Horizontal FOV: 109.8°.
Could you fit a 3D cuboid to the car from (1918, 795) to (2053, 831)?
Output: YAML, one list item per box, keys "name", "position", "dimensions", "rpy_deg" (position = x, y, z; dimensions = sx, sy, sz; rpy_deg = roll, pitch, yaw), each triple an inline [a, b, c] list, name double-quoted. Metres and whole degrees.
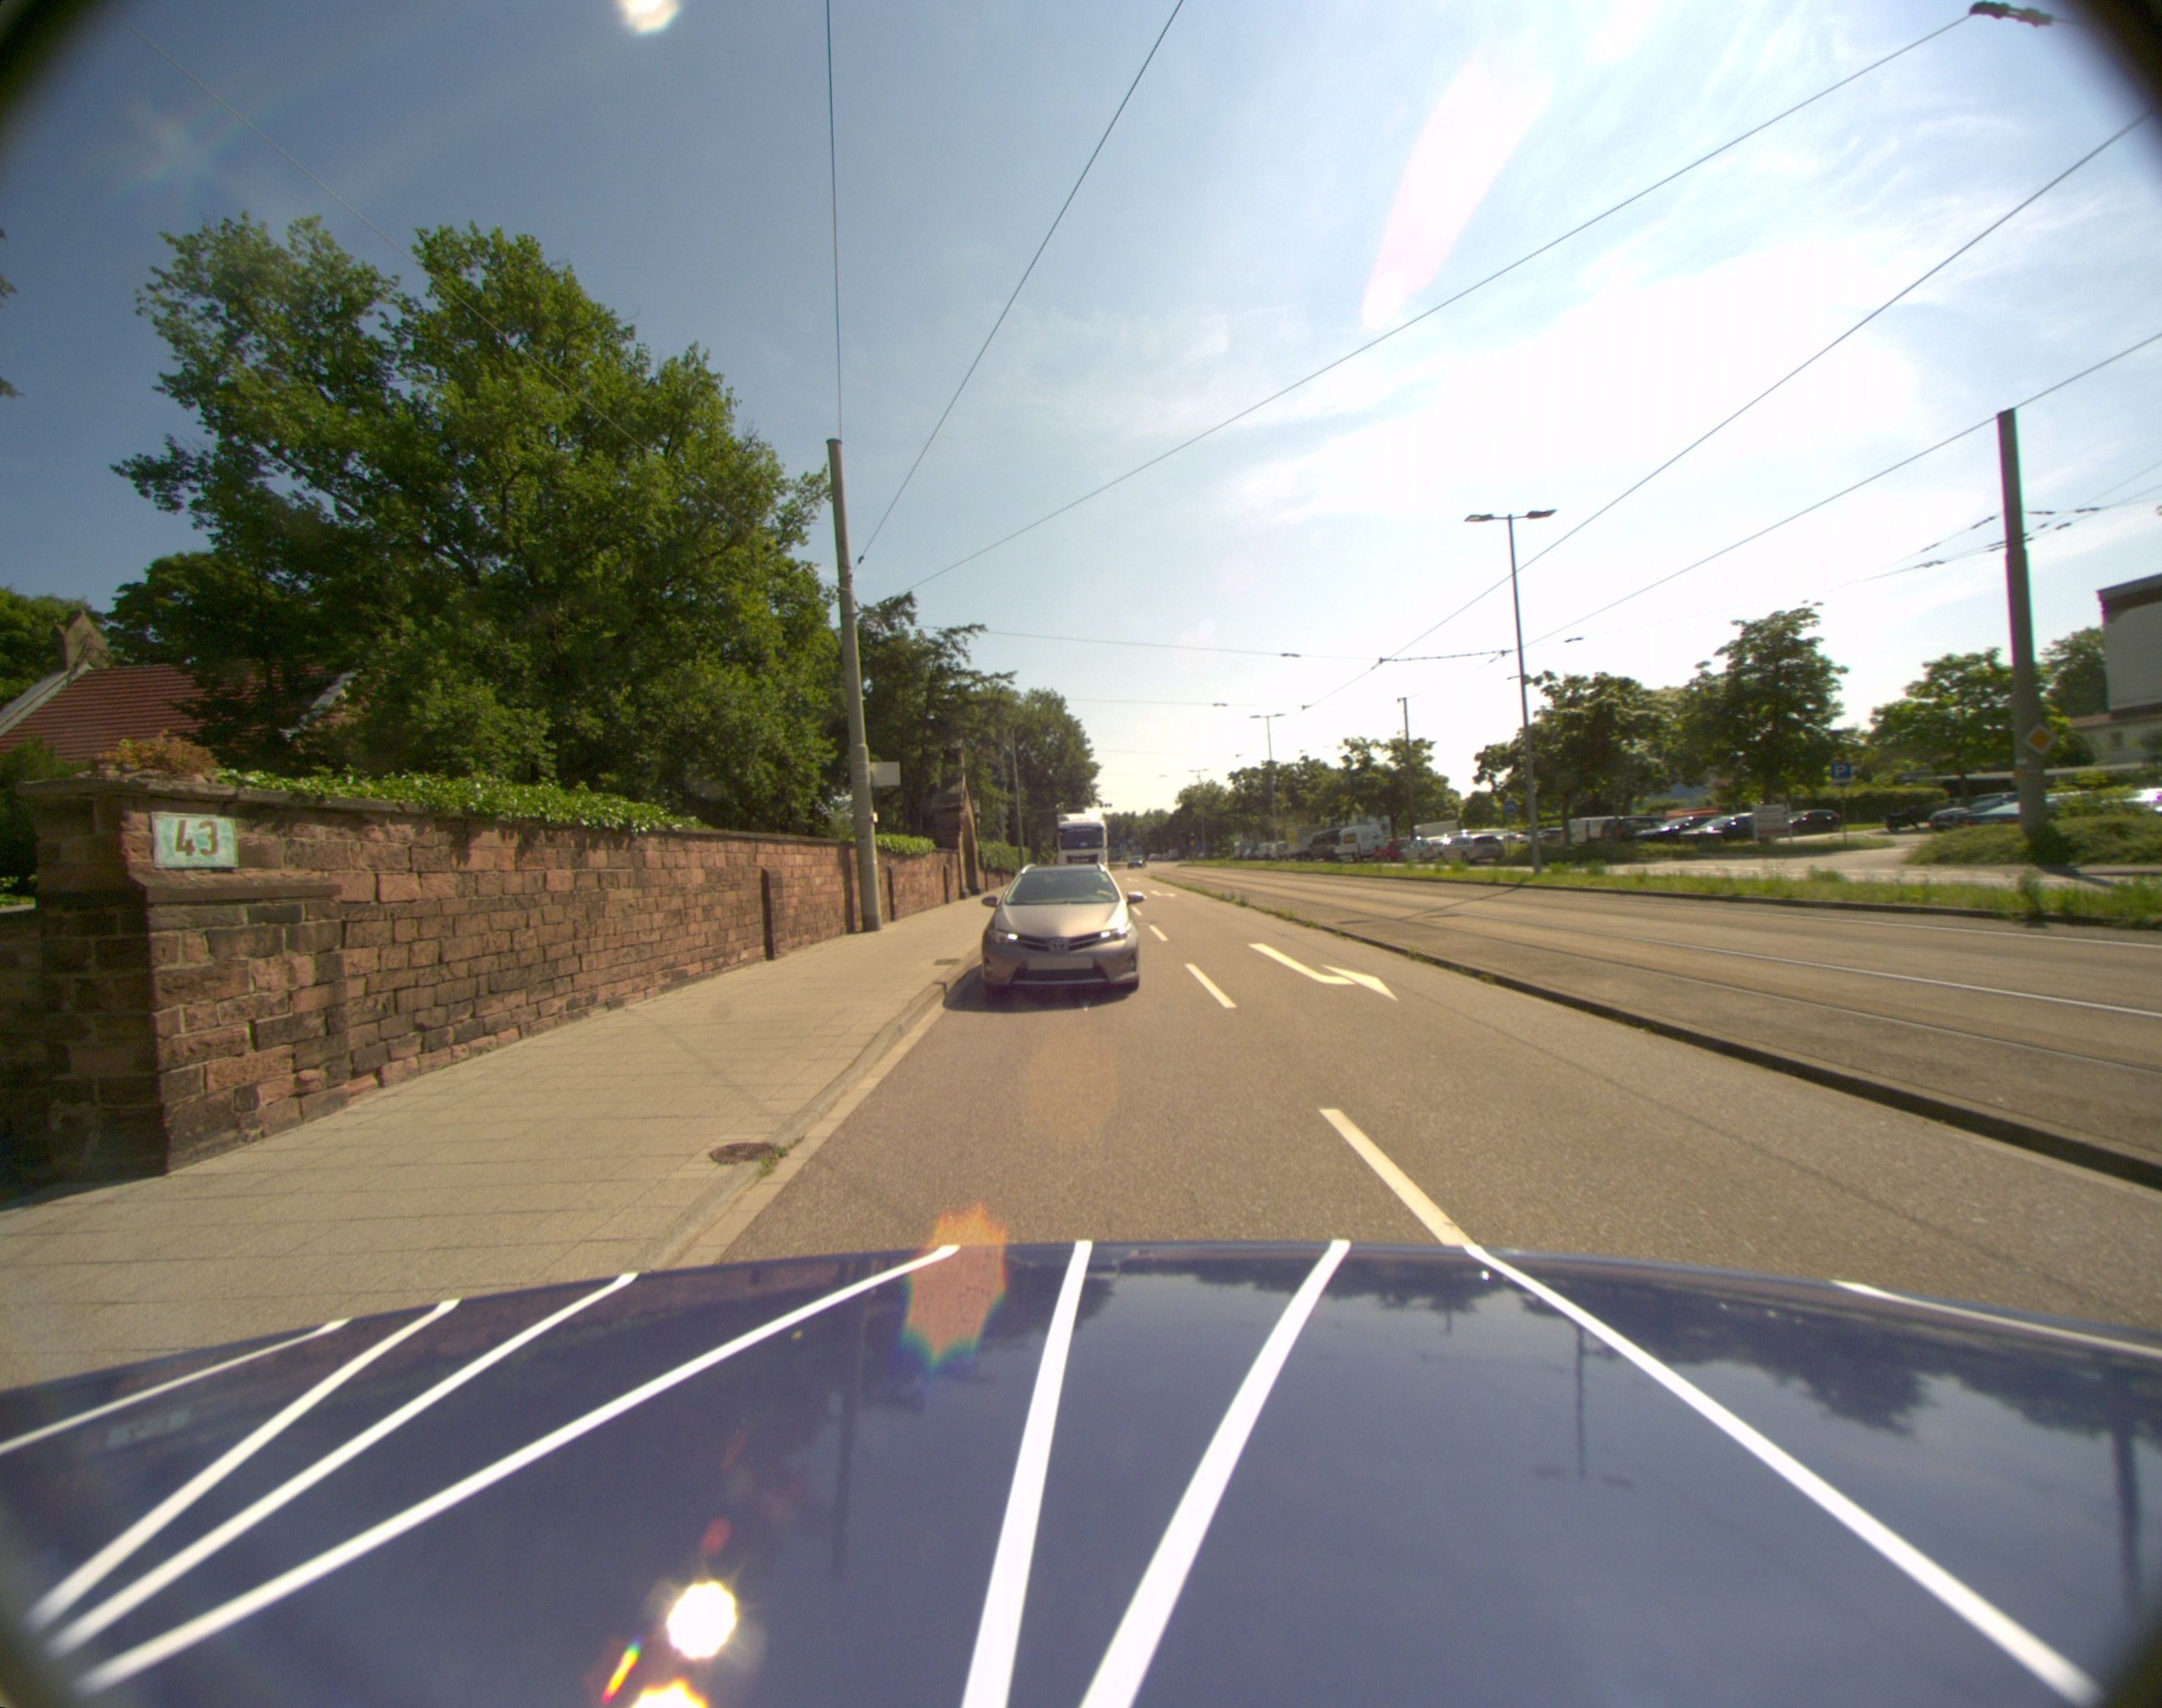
- name: "car"
  position: [43.278, -1.939, 36.410]
  dimensions: [4.252, 1.327, 1.676]
  rpy_deg: [-4, 0, 3]

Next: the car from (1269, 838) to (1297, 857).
- name: "car"
  position: [20.845, -0.667, 78.593]
  dimensions: [1.502, 1.793, 4.633]
  rpy_deg: [-7, 0, 1]

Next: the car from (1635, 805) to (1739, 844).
- name: "car"
  position: [30.550, -1.476, 38.373]
  dimensions: [3.810, 1.625, 1.676]
  rpy_deg: [-4, 0, 3]

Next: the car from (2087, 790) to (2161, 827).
- name: "car"
  position: [43.799, -1.940, 30.553]
  dimensions: [4.252, 1.327, 1.676]
  rpy_deg: [-4, 0, 3]

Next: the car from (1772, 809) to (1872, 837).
- name: "car"
  position: [44.627, -1.878, 45.834]
  dimensions: [4.252, 1.327, 1.676]
  rpy_deg: [-4, 0, 3]

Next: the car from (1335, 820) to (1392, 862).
- name: "car"
  position: [20.373, -0.908, 55.068]
  dimensions: [2.062, 2.638, 5.203]
  rpy_deg: [-7, 0, 1]

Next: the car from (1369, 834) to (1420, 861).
- name: "car"
  position: [20.495, -0.397, 49.801]
  dimensions: [1.675, 1.524, 3.793]
  rpy_deg: [-7, 0, 1]

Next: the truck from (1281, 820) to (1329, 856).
- name: "truck"
  position: [20.580, -1.399, 70.122]
  dimensions: [2.508, 2.917, 5.903]
  rpy_deg: [-7, 0, 2]

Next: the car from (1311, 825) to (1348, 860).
- name: "car"
  position: [20.029, -0.918, 61.398]
  dimensions: [1.502, 2.609, 4.007]
  rpy_deg: [-7, 0, 1]

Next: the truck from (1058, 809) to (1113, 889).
- name: "truck"
  position: [0.351, -0.283, 42.722]
  dimensions: [2.628, 3.905, 9.286]
  rpy_deg: [-2, 0, 1]

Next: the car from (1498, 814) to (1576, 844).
- name: "car"
  position: [31.316, -1.708, 52.234]
  dimensions: [4.117, 1.727, 1.990]
  rpy_deg: [-4, 0, -2]

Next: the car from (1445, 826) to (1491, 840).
- name: "car"
  position: [43.944, -2.359, 86.253]
  dimensions: [4.253, 1.327, 1.676]
  rpy_deg: [-4, 0, 2]

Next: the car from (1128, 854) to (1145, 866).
- name: "car"
  position: [6.506, 0.695, 89.379]
  dimensions: [1.654, 1.374, 4.000]
  rpy_deg: [-2, 0, 1]

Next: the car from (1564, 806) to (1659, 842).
- name: "car"
  position: [30.697, -1.722, 44.052]
  dimensions: [4.117, 1.727, 1.990]
  rpy_deg: [-4, 0, -2]

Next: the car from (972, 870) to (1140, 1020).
- name: "car"
  position: [-0.225, 0.967, 9.724]
  dimensions: [1.654, 1.374, 4.000]
  rpy_deg: [-2, 0, 1]

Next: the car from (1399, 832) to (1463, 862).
- name: "car"
  position: [20.527, -0.378, 44.757]
  dimensions: [1.675, 1.524, 4.257]
  rpy_deg: [-7, 0, 1]

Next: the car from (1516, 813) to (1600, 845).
- name: "car"
  position: [30.661, -1.610, 48.904]
  dimensions: [4.117, 1.727, 1.990]
  rpy_deg: [-4, 0, -2]

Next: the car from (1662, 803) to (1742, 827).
- name: "car"
  position: [44.033, -2.761, 53.906]
  dimensions: [4.253, 1.327, 1.676]
  rpy_deg: [-4, 0, -1]

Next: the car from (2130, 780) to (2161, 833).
- name: "car"
  position: [35.206, -1.606, 23.037]
  dimensions: [4.252, 1.595, 1.676]
  rpy_deg: [-4, 0, 3]

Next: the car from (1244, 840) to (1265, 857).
- name: "car"
  position: [20.862, -0.636, 91.367]
  dimensions: [1.502, 1.775, 3.687]
  rpy_deg: [-7, 0, 0]

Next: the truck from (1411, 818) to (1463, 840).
- name: "truck"
  position: [45.106, -3.108, 96.359]
  dimensions: [5.652, 2.367, 1.990]
  rpy_deg: [-4, 0, -2]

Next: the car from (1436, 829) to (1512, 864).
- name: "car"
  position: [20.361, -0.368, 39.570]
  dimensions: [1.675, 1.524, 4.257]
  rpy_deg: [-7, 0, 1]

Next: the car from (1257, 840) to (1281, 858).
- name: "car"
  position: [21.105, -0.585, 85.321]
  dimensions: [1.502, 1.835, 4.059]
  rpy_deg: [-7, 0, 0]

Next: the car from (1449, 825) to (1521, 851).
- name: "car"
  position: [31.284, -1.199, 59.135]
  dimensions: [2.594, 1.800, 5.741]
  rpy_deg: [-4, 0, 2]

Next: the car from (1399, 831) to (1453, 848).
- name: "car"
  position: [32.477, -1.331, 71.649]
  dimensions: [4.253, 1.327, 1.676]
  rpy_deg: [-4, 0, 2]

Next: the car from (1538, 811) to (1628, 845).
- name: "car"
  position: [30.598, -1.547, 46.397]
  dimensions: [4.117, 1.727, 1.990]
  rpy_deg: [-4, 0, -2]

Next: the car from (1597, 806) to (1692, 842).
- name: "car"
  position: [30.622, -1.607, 41.382]
  dimensions: [3.810, 1.625, 1.676]
  rpy_deg: [-4, 0, 3]
